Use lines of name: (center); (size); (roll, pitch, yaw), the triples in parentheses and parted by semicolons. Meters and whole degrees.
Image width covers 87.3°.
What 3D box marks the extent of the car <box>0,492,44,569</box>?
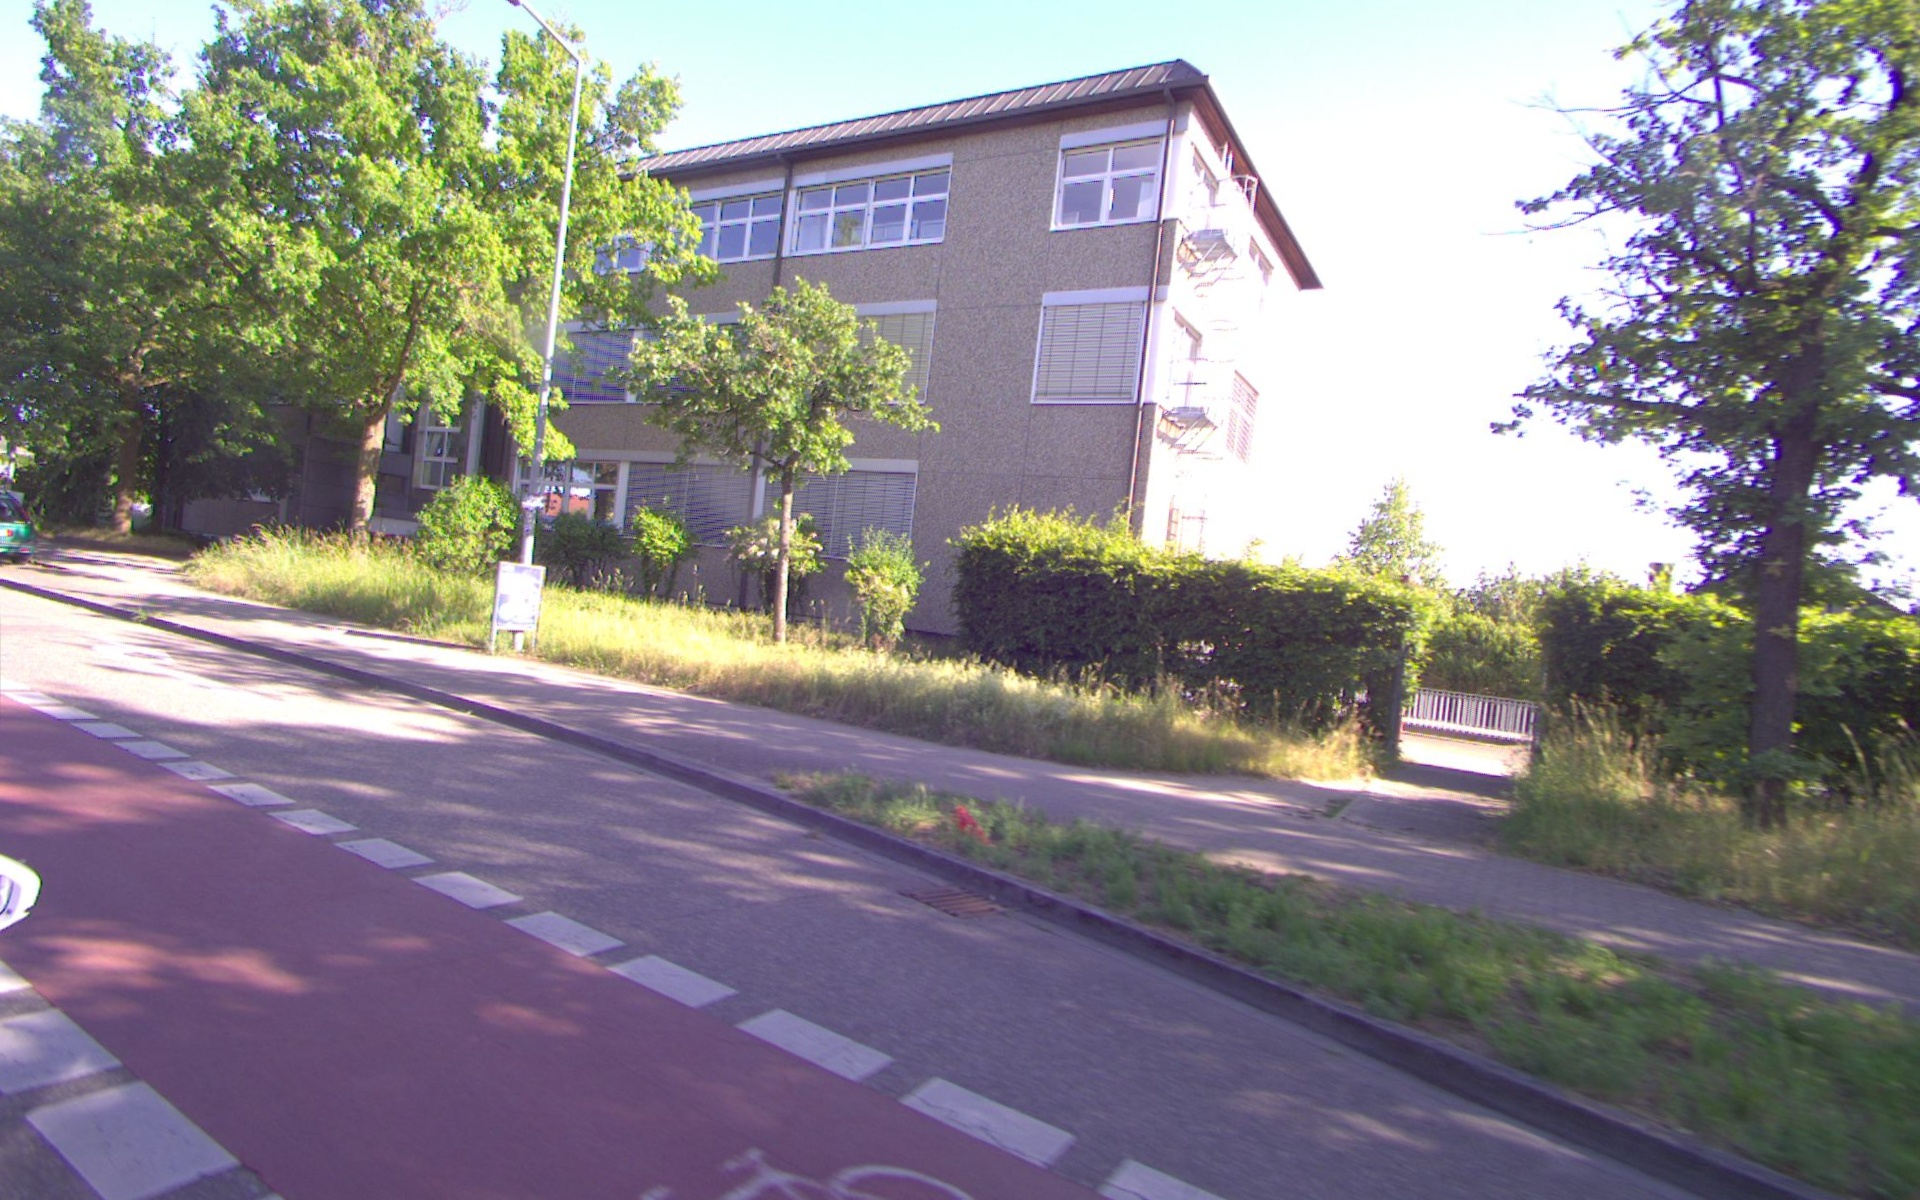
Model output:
car: (-20.413, -1.564, 20.397); (4.134, 1.447, 1.593); (6, 1, 32)

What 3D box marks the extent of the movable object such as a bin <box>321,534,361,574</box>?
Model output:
movable object such as a bin: (-17.879, -1.336, 29.078); (0.571, 1.045, 0.713); (7, 1, 30)
